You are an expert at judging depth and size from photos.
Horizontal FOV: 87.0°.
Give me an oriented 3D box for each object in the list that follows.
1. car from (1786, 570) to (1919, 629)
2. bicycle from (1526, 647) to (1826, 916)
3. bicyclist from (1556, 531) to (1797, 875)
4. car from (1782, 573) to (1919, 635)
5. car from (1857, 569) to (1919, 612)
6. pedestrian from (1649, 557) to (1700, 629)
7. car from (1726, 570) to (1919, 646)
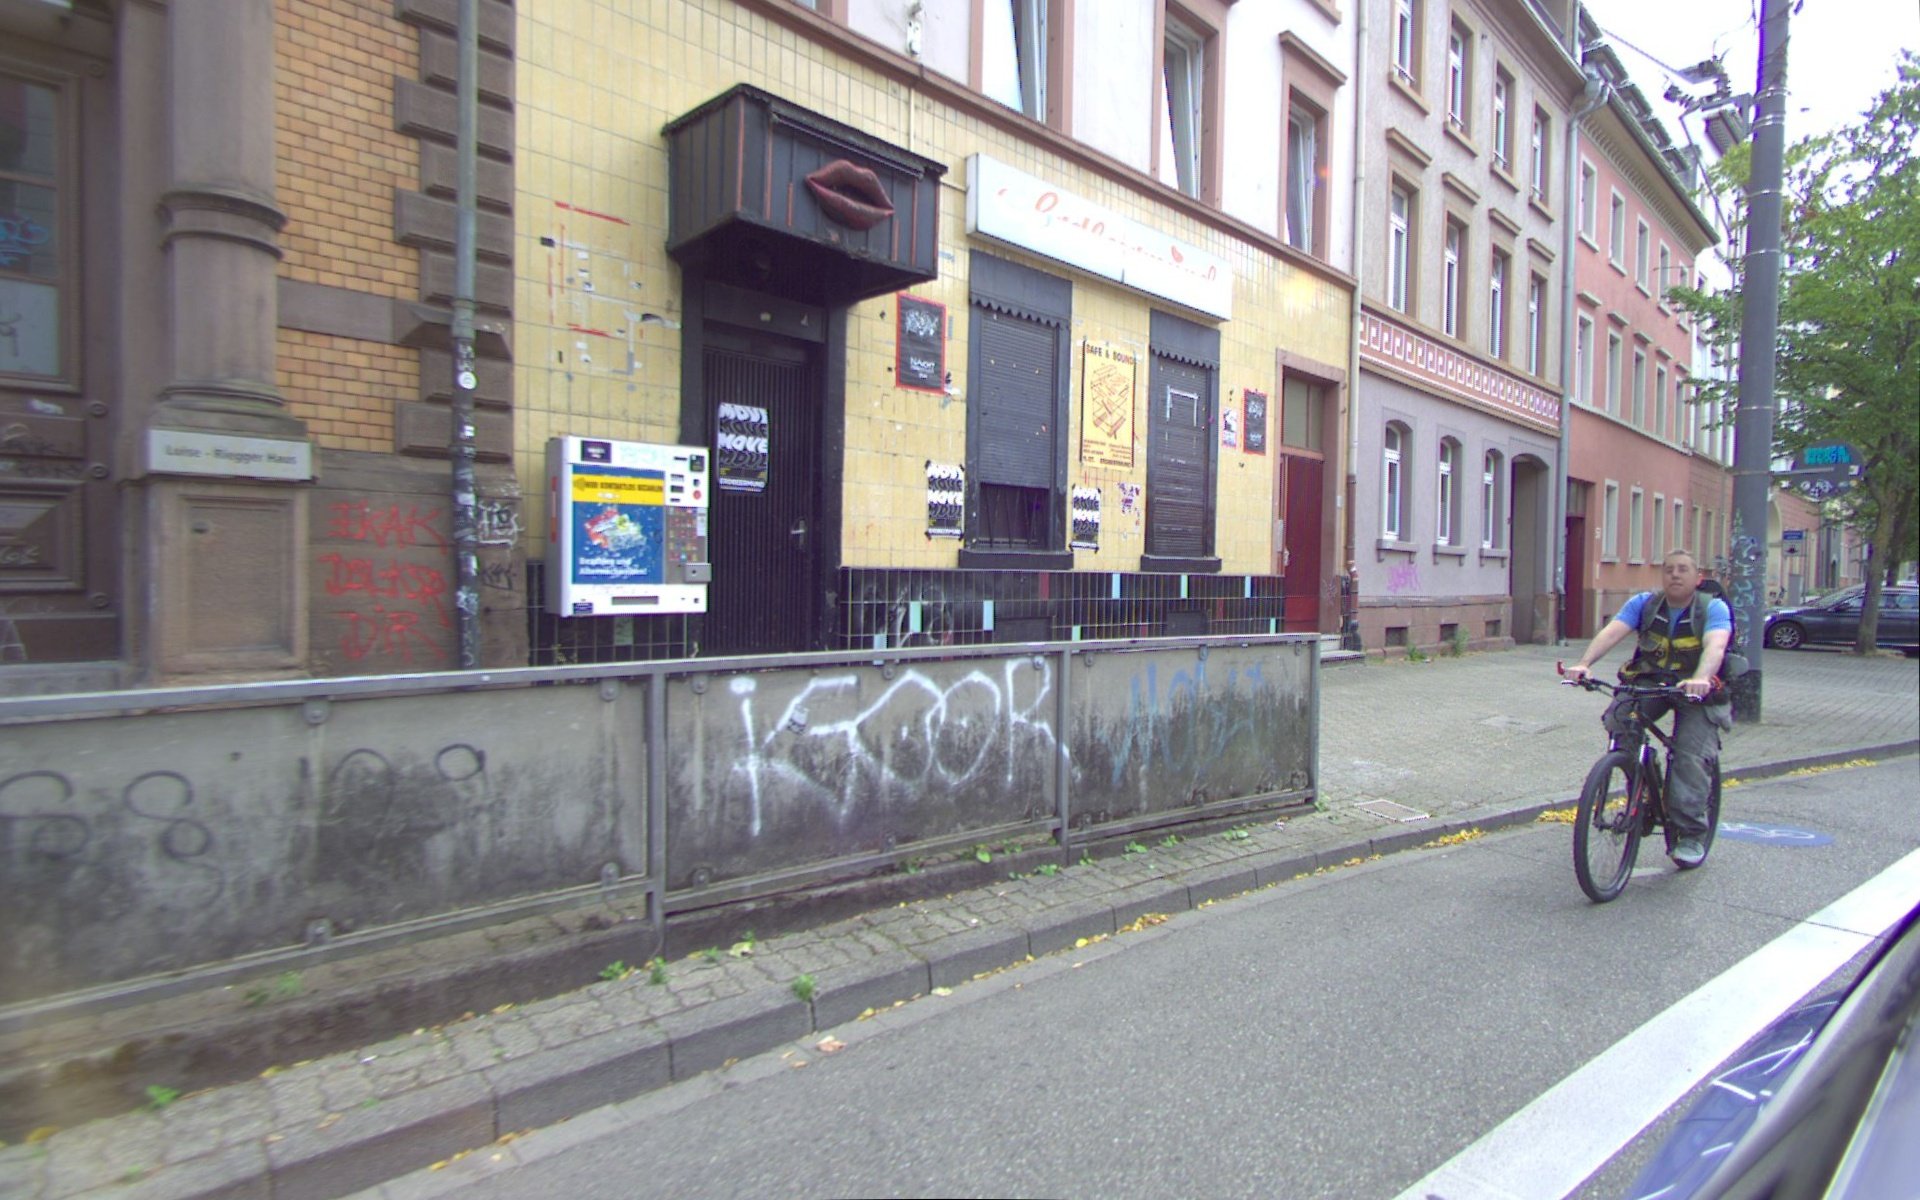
[{"bbox_3d":[29.646,-0.021,32.678,4.195,1.719,1.726,3,3,25],"label":"car"},{"bbox_3d":[3.640,0.808,5.096,1.766,1.031,0.715,-1,1,-36],"label":"bicycle"},{"bbox_3d":[3.566,0.452,5.043,0.901,1.526,0.716,0,0,-36],"label":"bicyclist"},{"bbox_3d":[25.163,0.123,27.231,4.300,1.498,1.775,3,3,25],"label":"car"},{"bbox_3d":[41.223,-0.349,42.680,4.580,1.719,1.901,3,3,25],"label":"car"},{"bbox_3d":[17.736,-0.183,25.130,0.911,1.708,0.732,-1,5,-43],"label":"pedestrian"},{"bbox_3d":[20.068,0.175,22.412,4.580,1.491,1.775,3,3,25],"label":"car"}]
